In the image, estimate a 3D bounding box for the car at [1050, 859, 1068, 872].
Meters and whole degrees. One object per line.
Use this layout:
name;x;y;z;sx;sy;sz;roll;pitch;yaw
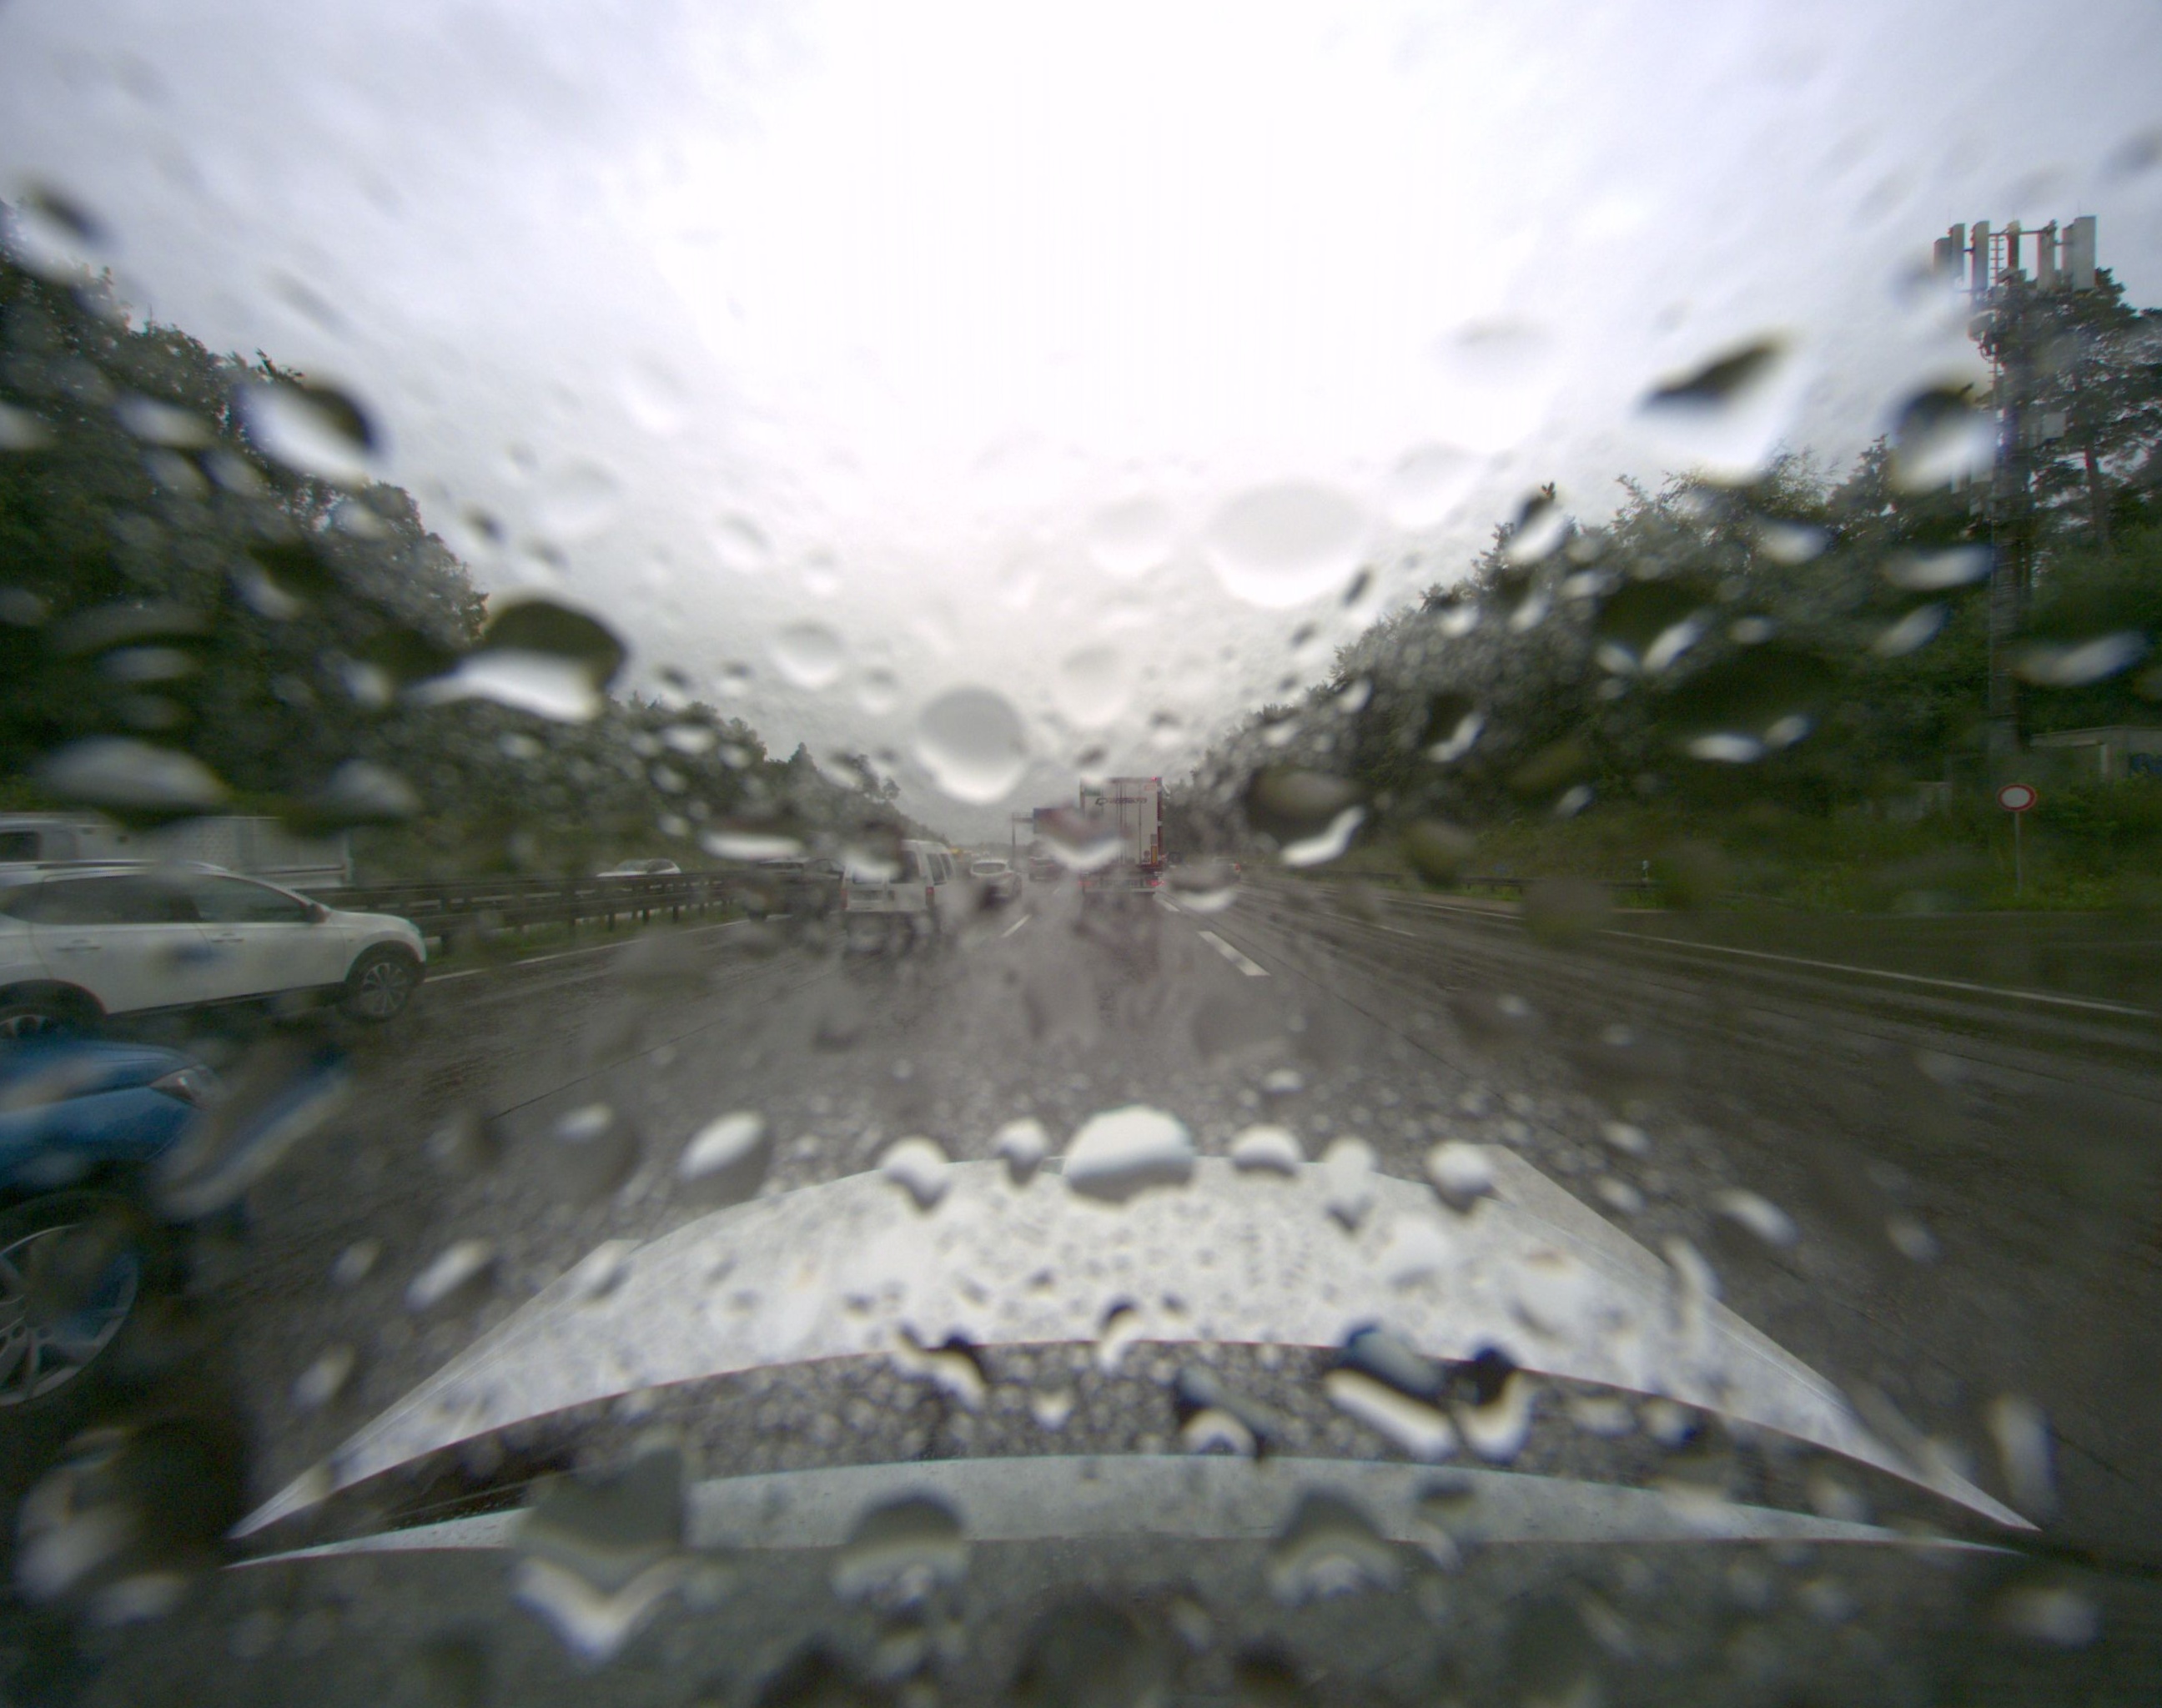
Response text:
car;-2.457;1.308;91.817;1.839;1.330;4.466;-1;0;0

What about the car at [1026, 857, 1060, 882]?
car;-2.543;1.005;55.175;1.838;1.591;4.470;-1;0;3

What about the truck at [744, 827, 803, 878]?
truck;-25.218;-0.091;67.030;2.693;3.954;4.893;-2;0;2

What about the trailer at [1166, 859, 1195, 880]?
trailer;8.902;1.347;73.194;2.234;1.714;5.085;-1;0;3

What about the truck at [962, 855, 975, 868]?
truck;-32.447;2.110;235.338;2.513;3.483;11.710;-1;0;-2

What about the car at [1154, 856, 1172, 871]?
car;9.348;1.049;93.033;1.980;1.583;4.774;-1;0;5

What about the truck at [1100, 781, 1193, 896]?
truck;2.345;-0.448;31.122;2.860;3.562;11.310;-1;0;3

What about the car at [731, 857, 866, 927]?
car;-7.181;0.891;21.244;1.839;1.591;4.468;-1;0;1

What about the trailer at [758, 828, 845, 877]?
trailer;-25.052;-0.067;74.136;2.710;3.954;13.963;-2;0;1

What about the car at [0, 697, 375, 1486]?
car;-3.883;0.593;0.499;2.259;1.912;5.022;-1;0;5

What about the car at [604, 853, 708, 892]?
car;-18.176;0.751;35.127;1.987;1.507;4.706;-2;0;0

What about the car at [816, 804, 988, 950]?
car;-3.461;0.399;16.948;2.204;2.573;5.019;-1;0;3

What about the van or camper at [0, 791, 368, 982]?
van or camper;-14.727;0.428;12.582;2.219;2.422;5.704;-1;0;2

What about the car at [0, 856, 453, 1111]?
car;-7.721;0.838;6.468;1.838;1.591;4.469;-1;0;2

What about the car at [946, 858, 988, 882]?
car;-6.772;0.938;48.944;1.839;1.330;4.466;-1;0;0

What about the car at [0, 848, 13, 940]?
car;-18.564;0.668;11.255;1.829;1.497;4.333;-1;0;1

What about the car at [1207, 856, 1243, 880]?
car;8.666;0.815;49.258;1.782;1.407;4.233;-1;0;4

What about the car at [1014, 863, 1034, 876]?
car;-6.222;1.705;89.796;1.839;1.330;4.466;-1;0;0

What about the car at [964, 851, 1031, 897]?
car;-3.081;0.700;30.910;1.837;1.591;4.076;-1;0;4
